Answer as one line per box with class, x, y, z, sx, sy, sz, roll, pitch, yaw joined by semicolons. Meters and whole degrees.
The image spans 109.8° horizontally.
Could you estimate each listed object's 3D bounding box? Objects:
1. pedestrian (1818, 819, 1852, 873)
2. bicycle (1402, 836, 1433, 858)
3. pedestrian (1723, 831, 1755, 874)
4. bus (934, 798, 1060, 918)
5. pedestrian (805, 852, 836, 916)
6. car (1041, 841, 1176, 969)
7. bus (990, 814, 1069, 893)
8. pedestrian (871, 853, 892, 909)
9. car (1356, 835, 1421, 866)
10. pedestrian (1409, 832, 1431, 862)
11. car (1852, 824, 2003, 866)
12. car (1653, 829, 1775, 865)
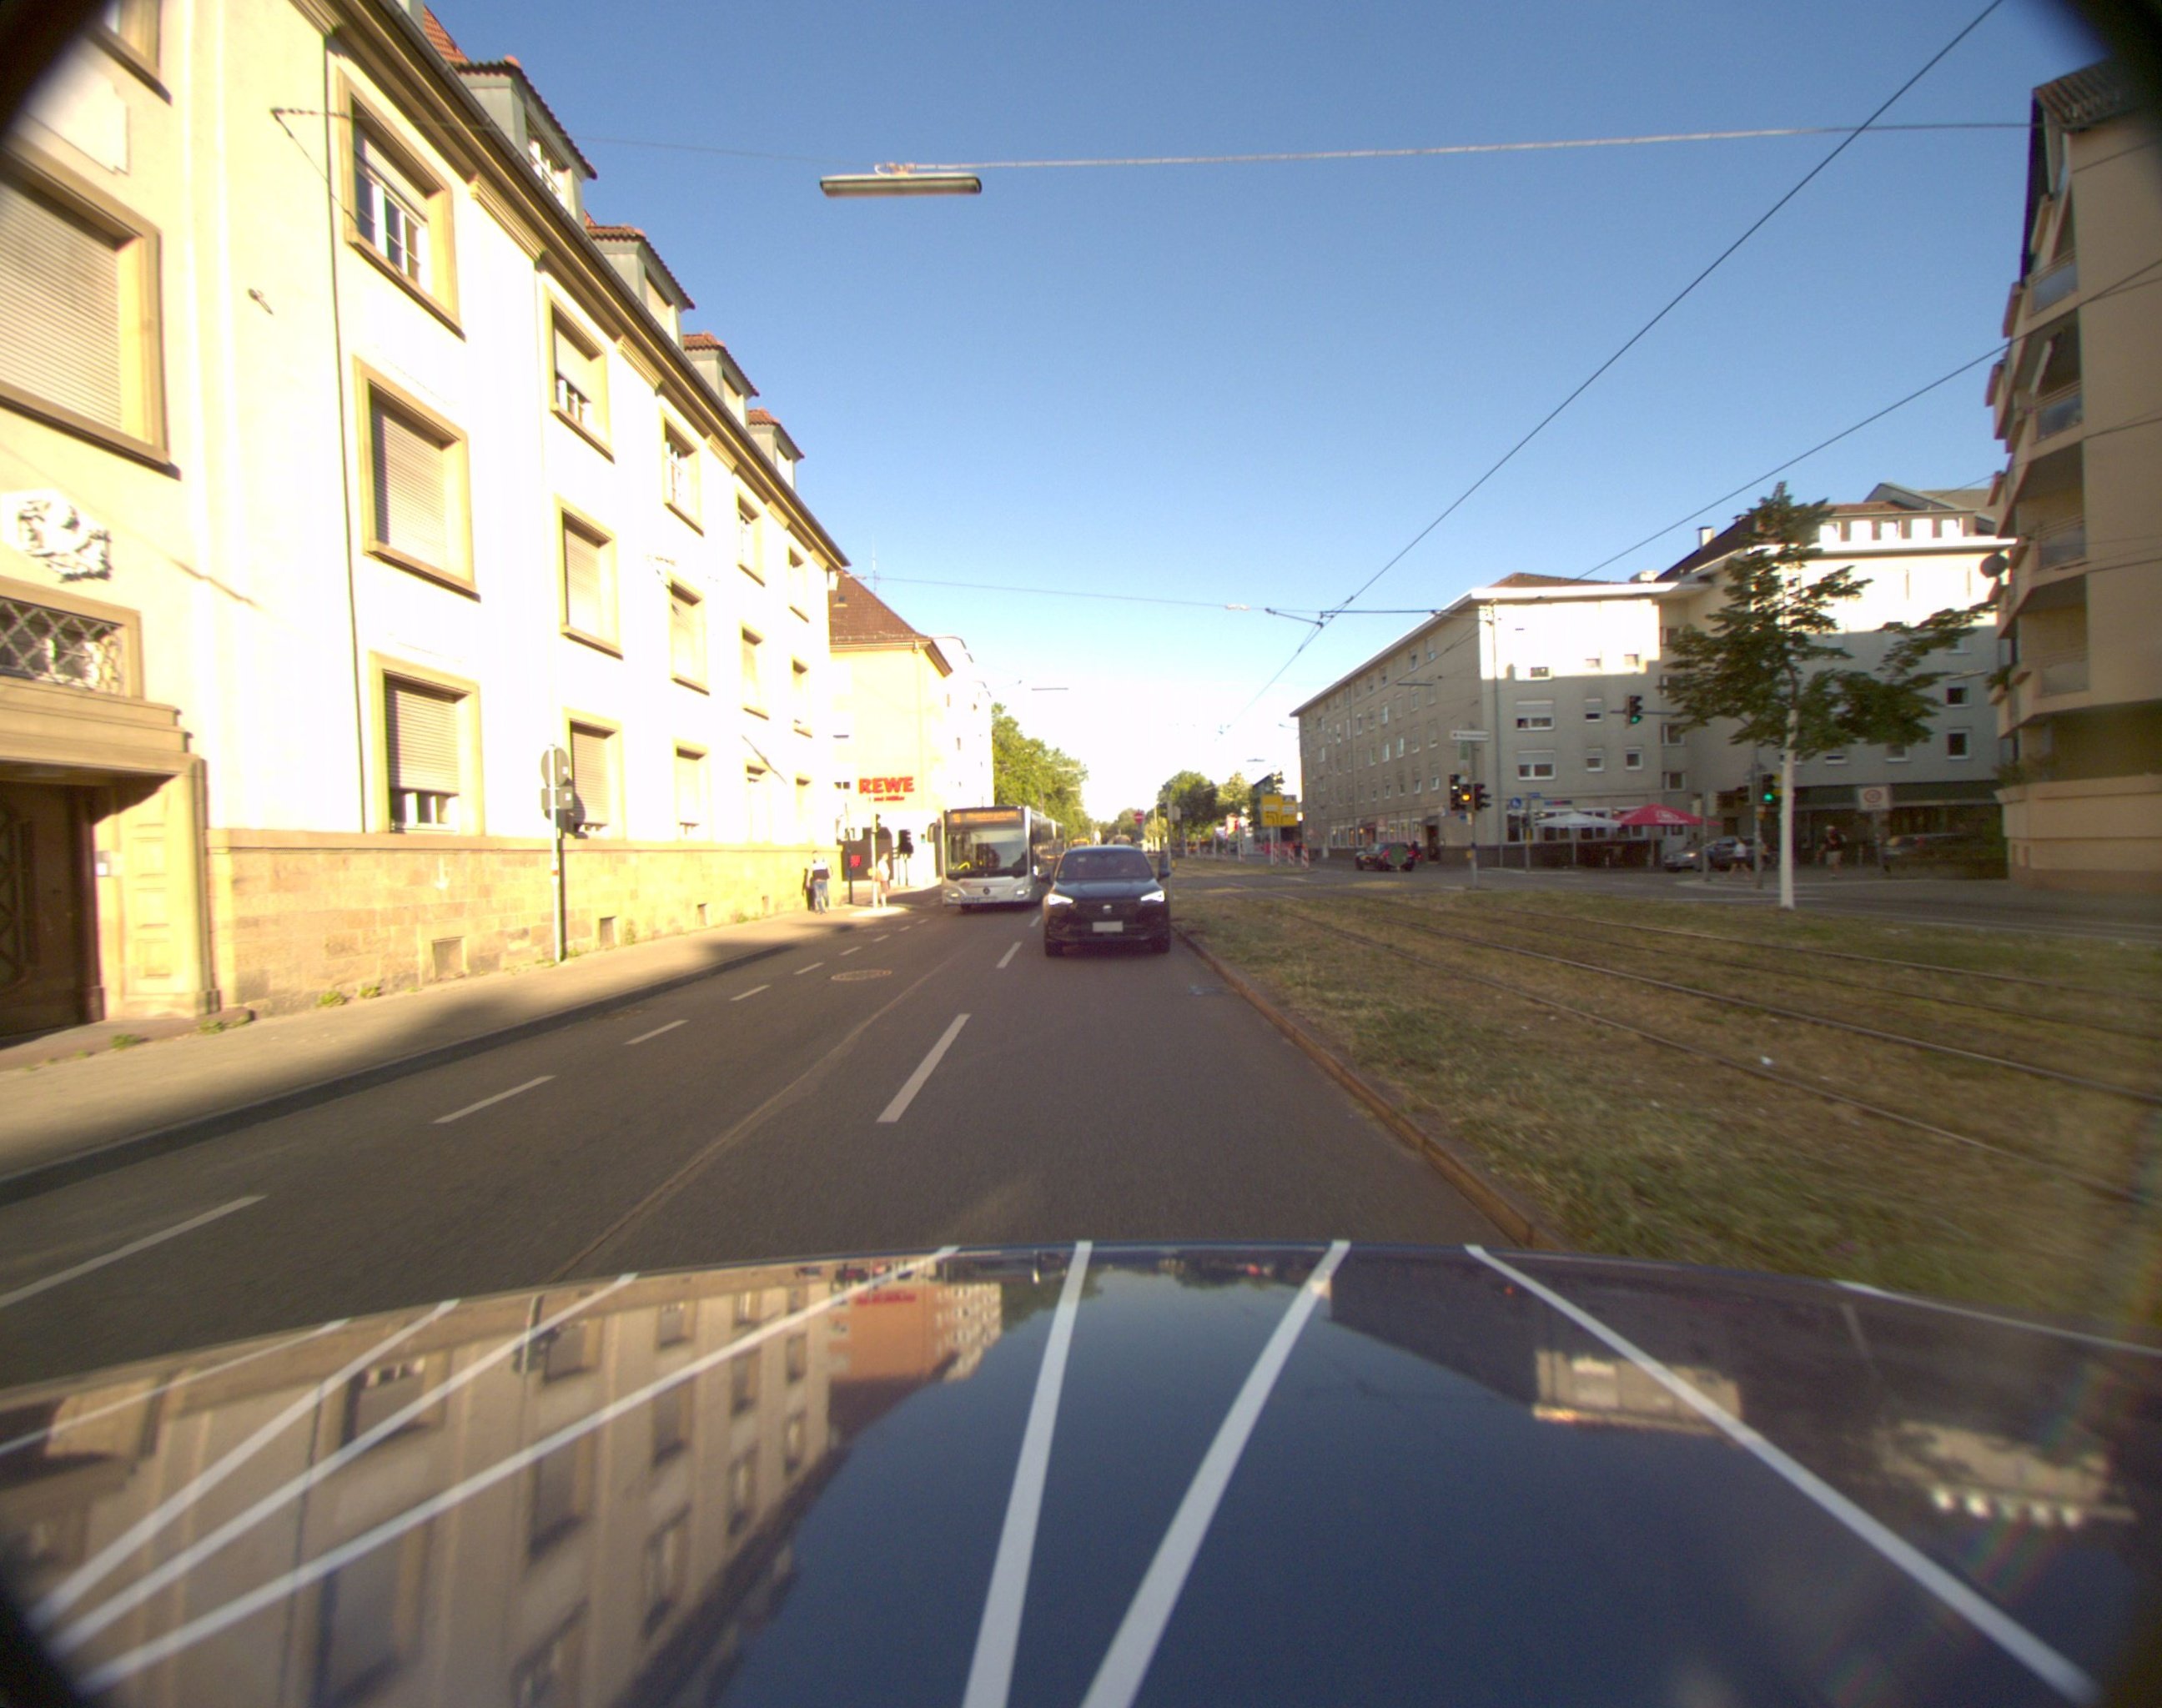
pedestrian;25.209;-0.279;25.417;0.634;1.760;0.826;-1;2;31
bicycle;22.200;-0.487;50.188;0.579;1.370;3.236;-2;1;0
pedestrian;23.424;-0.065;27.049;0.624;1.482;0.582;-2;2;0
bus;-2.369;0.039;25.477;2.731;3.059;10.599;-2;1;1
pedestrian;-7.146;0.817;20.876;0.648;1.721;0.558;1;1;1
car;0.478;0.663;12.427;1.787;1.615;4.215;-2;2;3
bus;-2.170;-0.094;36.124;2.712;3.059;10.599;-3;1;1
pedestrian;-6.238;0.833;23.796;0.527;1.721;0.445;1;-1;-1
car;17.265;-0.195;42.911;1.922;1.581;4.469;-1;0;1
pedestrian;20.065;-0.396;44.987;0.742;1.731;1.226;-2;1;0
car;32.298;-0.355;29.054;3.999;1.499;1.815;-1;1;-5
car;28.791;-0.324;34.635;3.998;1.499;1.999;-2;1;-3
